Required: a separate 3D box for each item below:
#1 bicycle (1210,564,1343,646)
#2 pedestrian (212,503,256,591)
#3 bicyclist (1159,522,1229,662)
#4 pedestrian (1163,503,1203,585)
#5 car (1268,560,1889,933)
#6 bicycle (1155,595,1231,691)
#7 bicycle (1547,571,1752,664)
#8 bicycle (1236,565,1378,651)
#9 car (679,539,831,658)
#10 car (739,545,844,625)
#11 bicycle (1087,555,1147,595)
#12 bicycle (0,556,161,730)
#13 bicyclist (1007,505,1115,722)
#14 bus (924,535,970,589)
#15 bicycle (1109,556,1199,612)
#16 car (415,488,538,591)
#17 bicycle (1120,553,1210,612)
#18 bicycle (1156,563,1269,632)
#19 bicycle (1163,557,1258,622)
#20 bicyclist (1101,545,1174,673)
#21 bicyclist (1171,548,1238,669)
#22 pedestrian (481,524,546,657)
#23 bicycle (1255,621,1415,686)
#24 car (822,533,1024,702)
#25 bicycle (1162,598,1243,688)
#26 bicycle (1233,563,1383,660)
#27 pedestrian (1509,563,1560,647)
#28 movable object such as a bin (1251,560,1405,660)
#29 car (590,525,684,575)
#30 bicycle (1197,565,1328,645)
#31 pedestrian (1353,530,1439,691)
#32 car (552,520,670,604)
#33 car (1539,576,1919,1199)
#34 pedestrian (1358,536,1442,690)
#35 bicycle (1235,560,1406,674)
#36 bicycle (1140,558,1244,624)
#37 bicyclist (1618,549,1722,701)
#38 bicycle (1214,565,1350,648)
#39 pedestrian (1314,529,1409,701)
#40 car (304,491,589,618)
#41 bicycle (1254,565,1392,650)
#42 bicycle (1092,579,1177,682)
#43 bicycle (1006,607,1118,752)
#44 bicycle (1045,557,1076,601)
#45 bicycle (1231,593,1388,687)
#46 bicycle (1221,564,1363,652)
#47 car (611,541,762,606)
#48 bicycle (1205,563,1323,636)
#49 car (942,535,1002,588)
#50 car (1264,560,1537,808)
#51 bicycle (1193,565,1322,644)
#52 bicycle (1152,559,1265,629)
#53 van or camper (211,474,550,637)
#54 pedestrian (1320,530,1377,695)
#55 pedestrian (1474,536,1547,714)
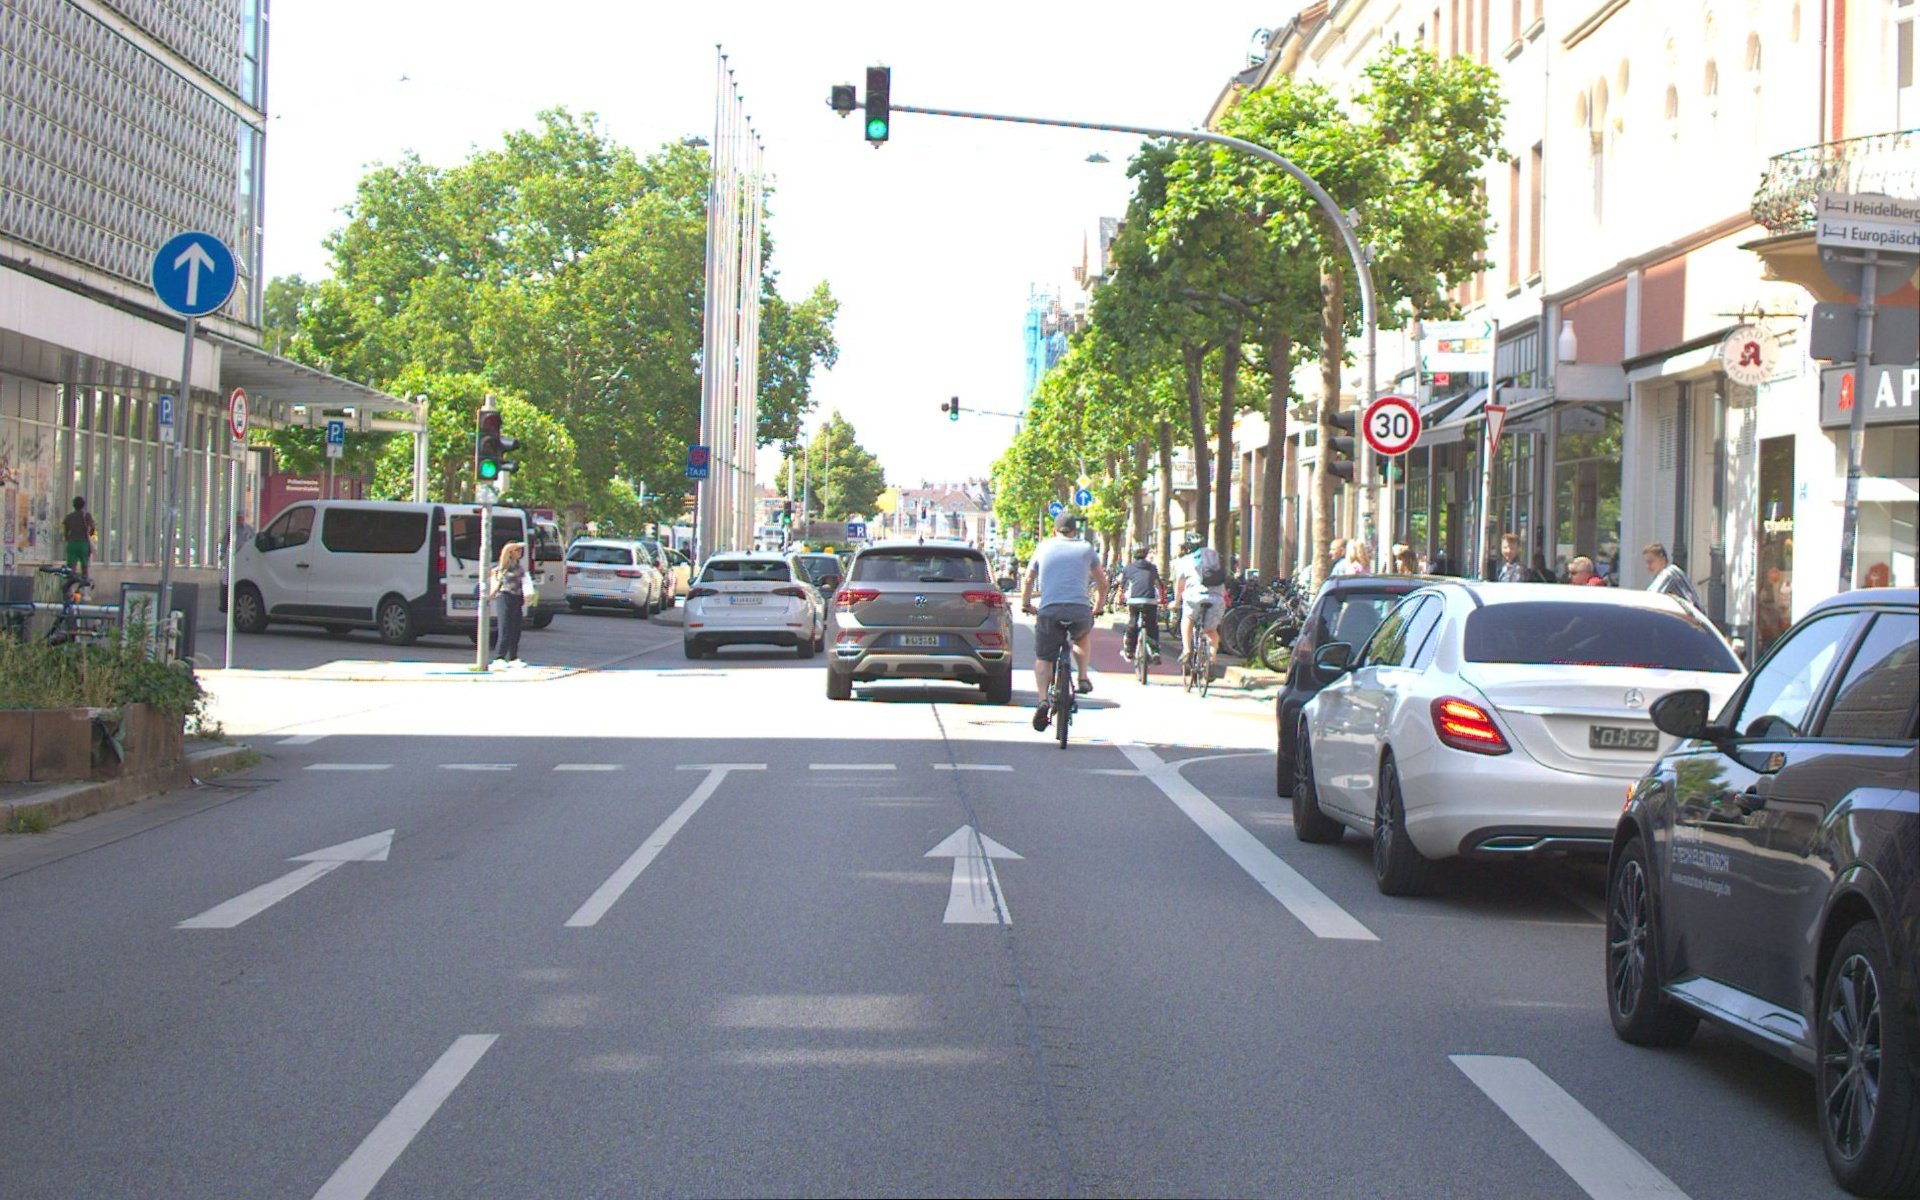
[{"bbox_3d":[4.521,0.069,49.180,1.840,1.123,0.666,1,0,2],"label":"bicycle"},{"bbox_3d":[-13.065,-0.953,61.900,0.678,1.554,0.641,1,1,-5],"label":"pedestrian"},{"bbox_3d":[2.532,-0.096,37.348,0.630,1.476,1.198,1,1,-1],"label":"bicyclist"},{"bbox_3d":[4.704,-1.187,72.489,0.639,1.683,0.843,4,1,-3],"label":"pedestrian"},{"bbox_3d":[2.806,0.585,16.812,1.952,1.420,4.887,3,1,-2],"label":"car"},{"bbox_3d":[2.522,0.451,37.349,0.630,0.976,2.089,1,1,-1],"label":"bicycle"},{"bbox_3d":[6.488,0.160,32.398,1.821,0.841,0.501,1,1,1],"label":"bicycle"},{"bbox_3d":[4.692,0.105,46.557,1.840,1.123,0.666,1,0,2],"label":"bicycle"},{"bbox_3d":[-2.793,-0.051,47.562,1.845,1.554,4.000,1,1,0],"label":"car"},{"bbox_3d":[-3.163,-0.303,64.998,1.845,1.444,4.000,1,1,-1],"label":"car"},{"bbox_3d":[4.445,-0.707,97.337,1.649,1.091,0.607,2,1,2],"label":"bicycle"},{"bbox_3d":[-6.546,0.283,24.516,2.063,1.169,0.603,3,0,45],"label":"bicycle"},{"bbox_3d":[0.776,0.094,26.521,0.774,1.629,0.851,1,1,0],"label":"bicyclist"},{"bbox_3d":[-0.943,-2.614,239.205,2.995,3.582,11.745,2,0,-1],"label":"bus"},{"bbox_3d":[4.203,-0.352,74.524,1.841,1.123,0.497,3,1,11],"label":"bicycle"},{"bbox_3d":[-9.956,-1.251,71.045,1.832,2.007,4.685,2,1,0],"label":"car"},{"bbox_3d":[4.375,-0.373,73.457,1.840,1.193,0.673,2,1,7],"label":"bicycle"},{"bbox_3d":[4.308,-0.041,58.766,1.840,1.089,0.564,3,0,0],"label":"bicycle"},{"bbox_3d":[4.890,-0.205,67.096,1.774,1.193,0.578,2,1,-27],"label":"bicycle"},{"bbox_3d":[2.060,0.100,39.955,0.698,1.436,0.791,3,1,-4],"label":"bicyclist"},{"bbox_3d":[2.833,0.092,39.942,0.600,1.353,0.721,3,1,-4],"label":"bicyclist"},{"bbox_3d":[-5.371,-0.118,41.338,0.639,1.554,0.681,3,1,-12],"label":"pedestrian"},{"bbox_3d":[4.666,0.671,42.880,1.136,0.432,1.856,-10,-3,-26],"label":"bicycle"},{"bbox_3d":[-0.426,0.123,33.996,1.845,1.554,4.001,1,1,-3],"label":"car"},{"bbox_3d":[2.802,0.482,39.955,0.600,0.922,2.088,3,2,-4],"label":"bicycle"},{"bbox_3d":[4.505,0.144,44.476,1.841,1.123,0.345,4,2,15],"label":"bicycle"},{"bbox_3d":[8.655,0.077,51.807,0.639,1.249,0.609,0,0,-3],"label":"pedestrian"},{"bbox_3d":[4.806,0.122,44.917,1.852,1.185,0.652,4,1,15],"label":"movable object such as a bin"},{"bbox_3d":[-13.209,-2.034,140.943,1.861,1.948,4.755,2,0,21],"label":"car"},{"bbox_3d":[4.390,0.074,49.992,1.840,1.123,0.666,1,0,2],"label":"bicycle"},{"bbox_3d":[4.988,0.114,39.370,0.787,1.789,0.641,3,1,-3],"label":"pedestrian"},{"bbox_3d":[-6.821,-0.772,67.573,1.799,1.518,4.739,2,1,0],"label":"car"},{"bbox_3d":[3.042,0.743,9.768,1.886,1.486,4.290,4,0,-1],"label":"car"},{"bbox_3d":[4.941,0.140,38.627,0.787,1.685,0.641,2,1,-3],"label":"pedestrian"},{"bbox_3d":[4.287,0.184,40.944,1.855,1.184,0.715,6,4,38],"label":"bicycle"},{"bbox_3d":[4.419,-0.179,65.433,1.839,1.123,0.497,4,2,-8],"label":"bicycle"},{"bbox_3d":[6.691,0.230,32.404,0.859,1.406,0.501,1,1,1],"label":"bicyclist"},{"bbox_3d":[4.507,0.092,48.133,1.840,1.123,0.643,1,0,2],"label":"bicycle"},{"bbox_3d":[4.163,0.162,35.711,0.639,1.703,0.790,-7,-1,-4],"label":"pedestrian"},{"bbox_3d":[-8.399,-0.766,56.072,4.441,1.903,2.005,3,2,36],"label":"car"},{"bbox_3d":[5.012,0.102,47.526,1.840,1.123,0.666,1,0,2],"label":"bicycle"},{"bbox_3d":[2.030,0.345,40.191,0.698,1.123,2.082,3,1,-4],"label":"bicycle"},{"bbox_3d":[0.768,0.590,26.546,0.774,1.002,2.329,1,1,0],"label":"bicycle"},{"bbox_3d":[2.396,-0.509,82.161,0.647,0.994,2.031,1,1,0],"label":"bicycle"},{"bbox_3d":[4.432,0.514,43.680,1.851,0.395,1.019,9,-34,4],"label":"bicycle"},{"bbox_3d":[4.423,0.108,45.784,1.840,1.123,0.666,1,0,7],"label":"bicycle"},{"bbox_3d":[-7.474,-0.760,94.437,1.894,1.536,4.855,3,4,26],"label":"car"},{"bbox_3d":[4.832,-0.008,54.666,1.840,1.123,0.448,1,0,3],"label":"bicycle"},{"bbox_3d":[0.399,-1.332,116.830,1.845,1.662,4.000,3,1,-1],"label":"car"},{"bbox_3d":[2.999,0.528,23.144,1.629,1.473,3.730,2,0,9],"label":"car"},{"bbox_3d":[4.380,0.067,50.686,1.840,1.123,0.530,1,0,2],"label":"bicycle"},{"bbox_3d":[4.404,-0.114,60.978,1.839,1.123,0.632,4,0,-11],"label":"bicycle"},{"bbox_3d":[-8.094,-0.637,47.827,4.656,2.006,1.995,4,2,39],"label":"van or camper"},{"bbox_3d":[4.291,0.130,38.023,0.452,1.789,0.608,3,1,-3],"label":"pedestrian"},{"bbox_3d":[5.852,0.262,36.534,0.639,1.836,0.614,3,1,12],"label":"pedestrian"}]
